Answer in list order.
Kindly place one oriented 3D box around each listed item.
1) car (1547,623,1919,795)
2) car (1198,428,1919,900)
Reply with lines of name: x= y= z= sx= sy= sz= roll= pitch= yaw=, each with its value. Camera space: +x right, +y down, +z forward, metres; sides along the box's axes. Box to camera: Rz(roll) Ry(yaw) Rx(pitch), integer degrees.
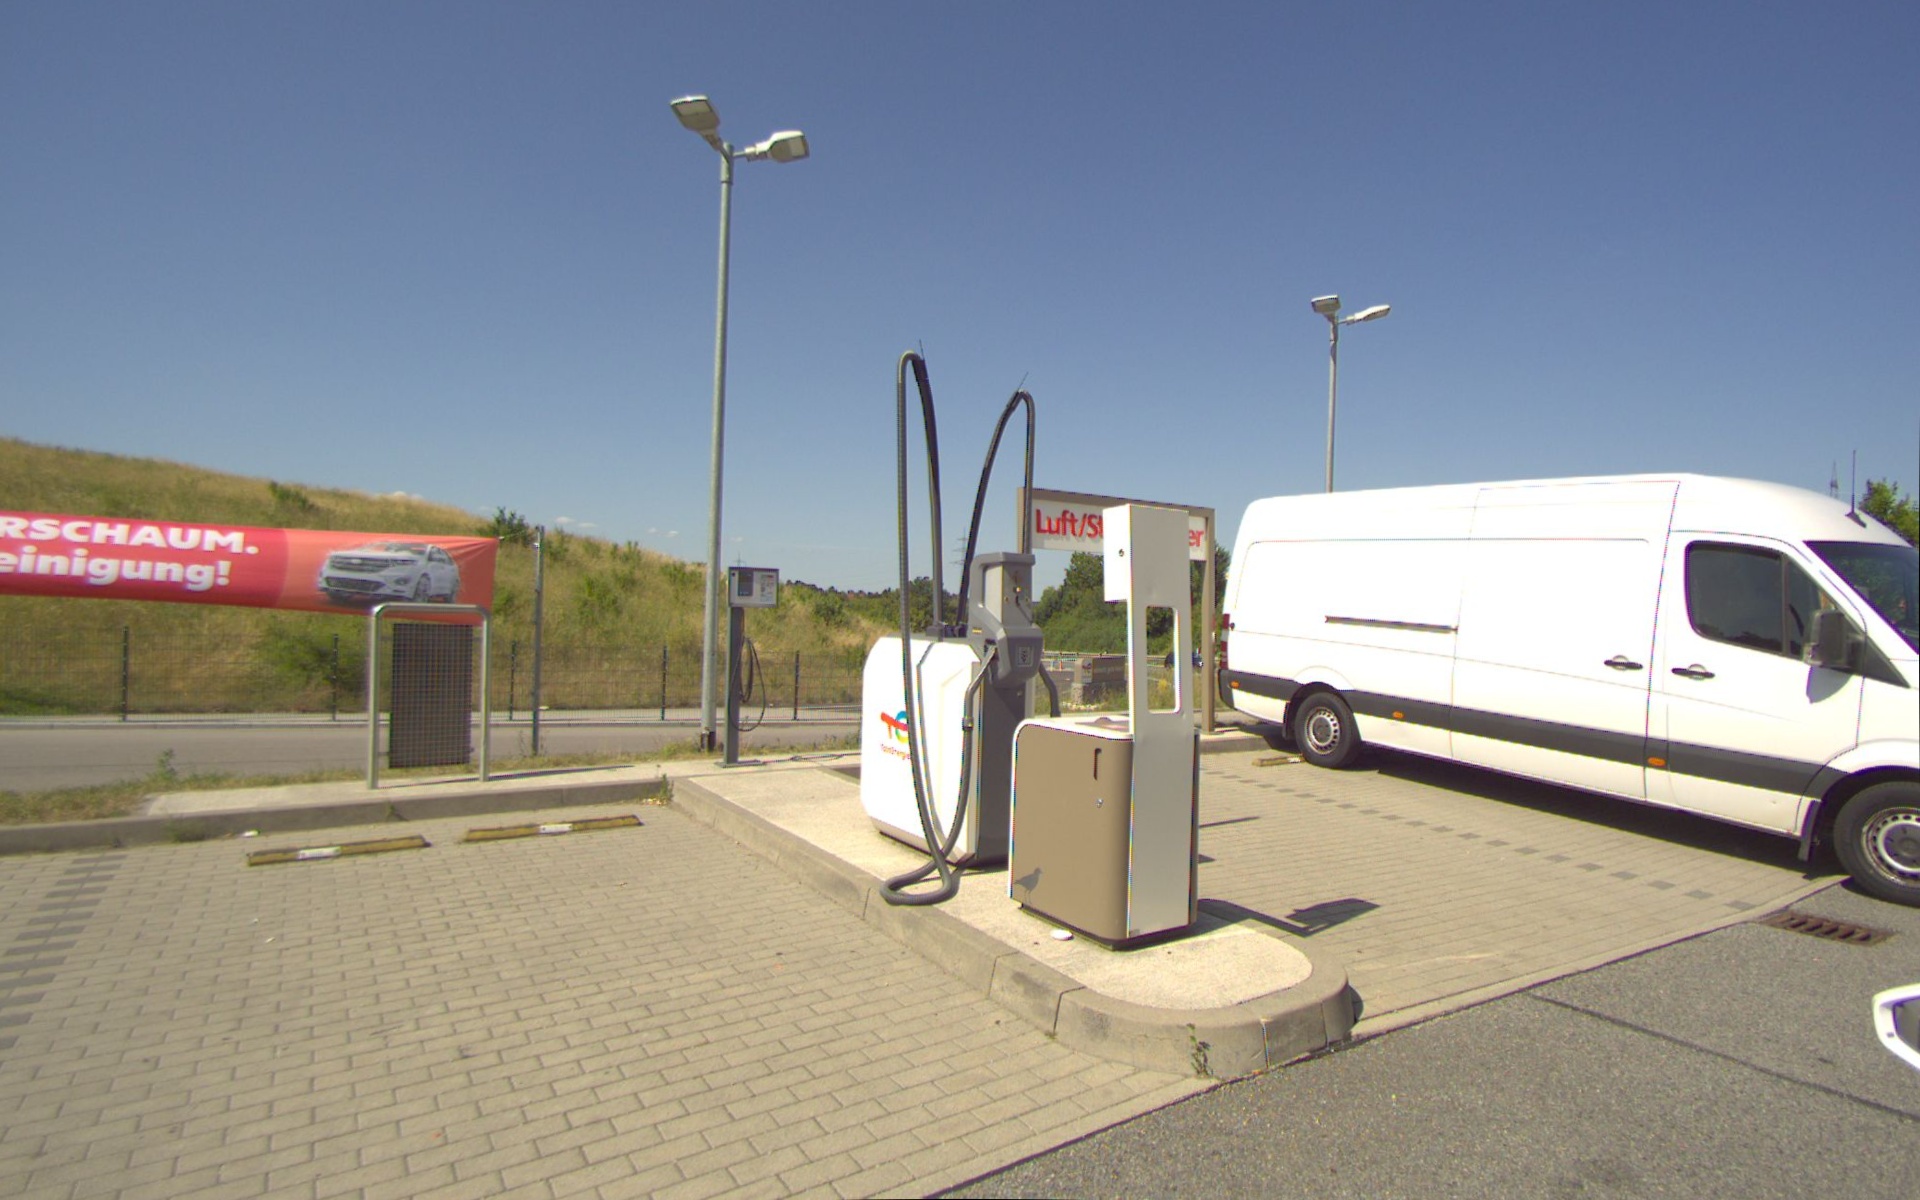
car: x=8.883 y=1.064 z=10.621 sx=1.774 sy=1.447 sz=4.283 roll=2 pitch=0 yaw=-32
car: x=5.073 y=0.303 z=8.243 sx=1.974 sy=2.605 sz=6.982 roll=2 pitch=1 yaw=-27
